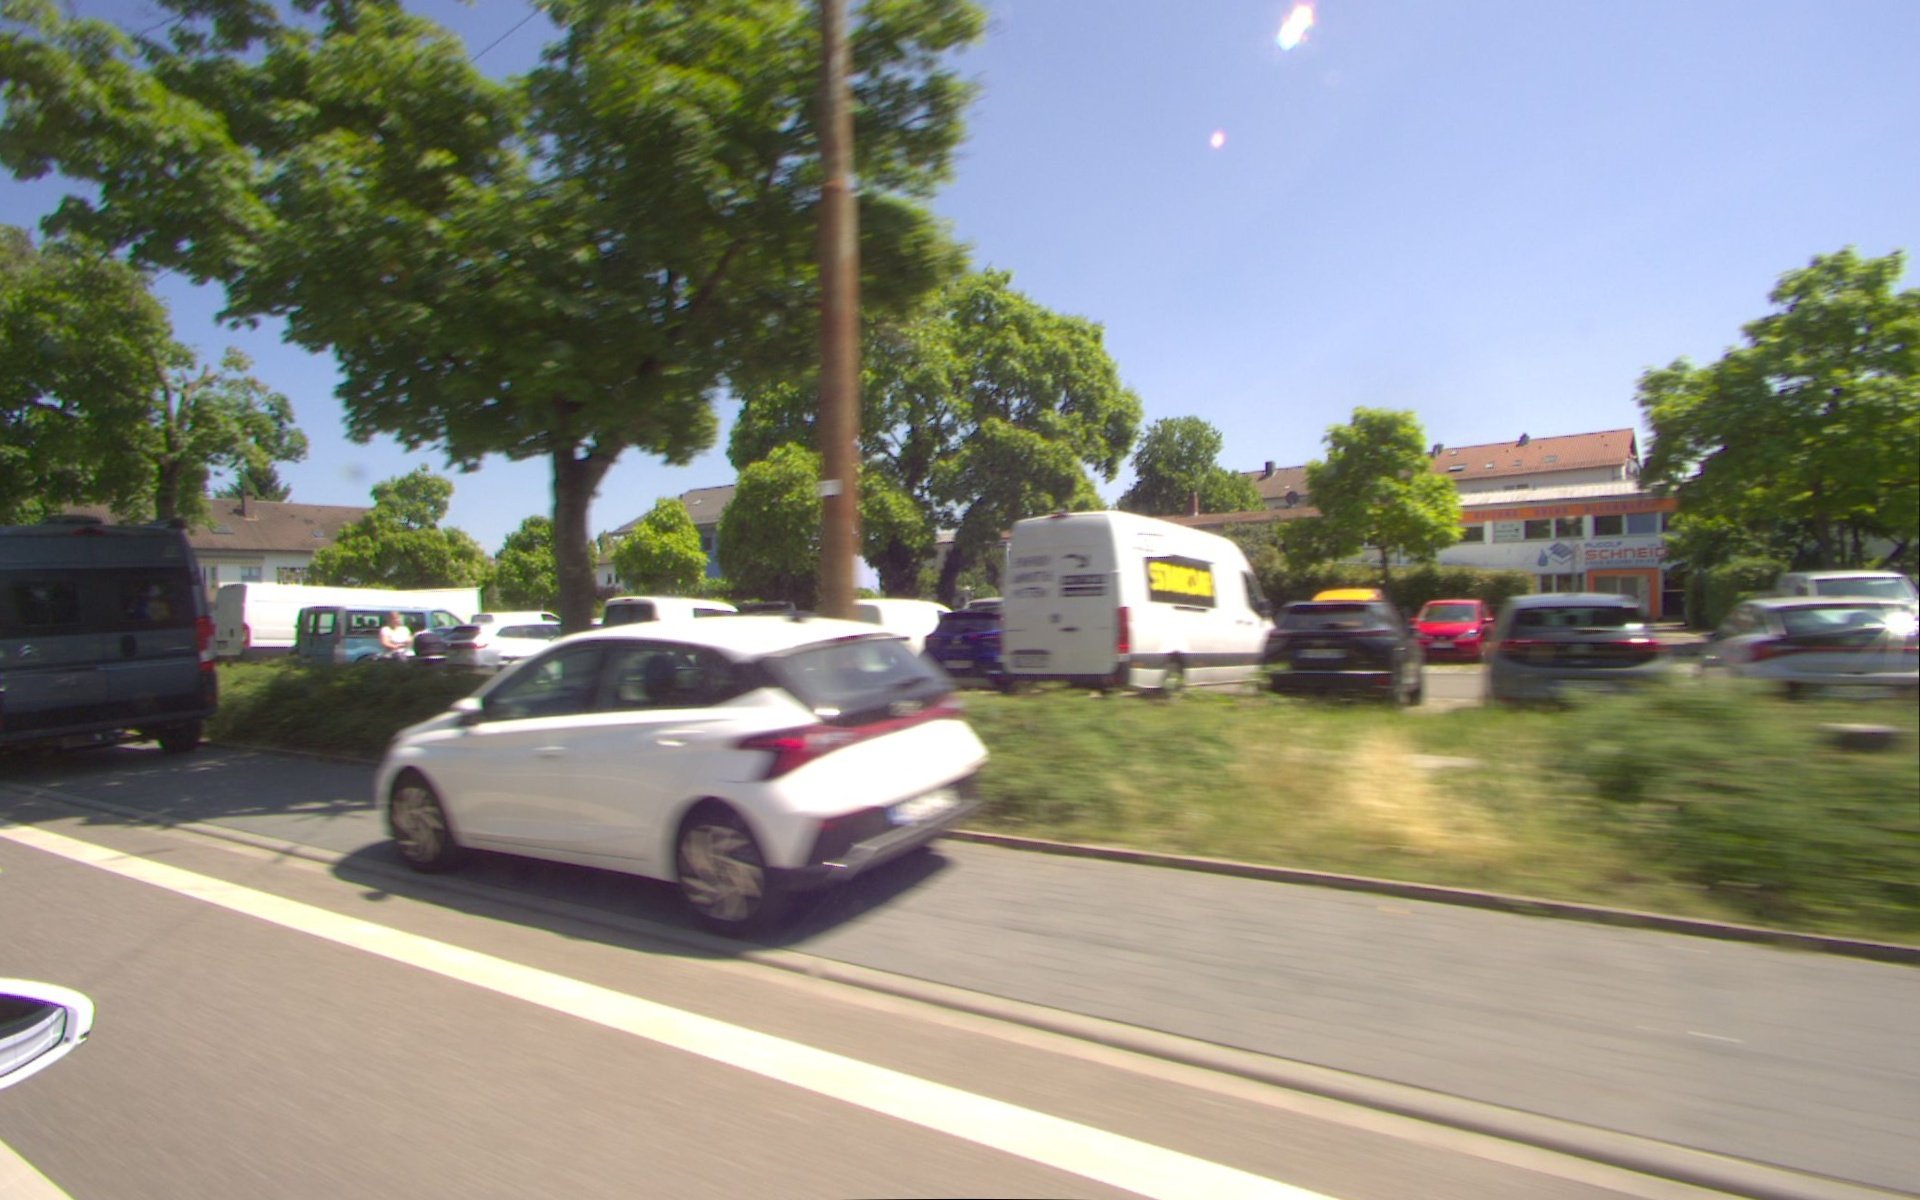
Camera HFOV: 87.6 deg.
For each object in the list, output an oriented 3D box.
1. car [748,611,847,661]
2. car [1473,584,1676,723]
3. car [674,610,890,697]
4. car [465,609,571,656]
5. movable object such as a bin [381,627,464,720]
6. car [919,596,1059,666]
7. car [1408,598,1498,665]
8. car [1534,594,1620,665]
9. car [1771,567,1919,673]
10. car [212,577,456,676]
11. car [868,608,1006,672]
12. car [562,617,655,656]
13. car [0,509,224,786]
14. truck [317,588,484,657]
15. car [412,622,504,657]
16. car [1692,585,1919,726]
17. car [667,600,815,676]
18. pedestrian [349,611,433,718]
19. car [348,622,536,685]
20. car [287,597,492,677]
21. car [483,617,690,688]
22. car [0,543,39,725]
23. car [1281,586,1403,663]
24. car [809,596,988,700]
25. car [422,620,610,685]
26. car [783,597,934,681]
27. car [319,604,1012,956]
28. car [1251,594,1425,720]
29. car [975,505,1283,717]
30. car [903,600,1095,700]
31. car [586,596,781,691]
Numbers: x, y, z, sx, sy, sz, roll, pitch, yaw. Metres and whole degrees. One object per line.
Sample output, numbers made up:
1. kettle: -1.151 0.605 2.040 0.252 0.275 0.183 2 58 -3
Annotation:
1. car: -5.792 1.263 36.026 1.659 1.567 3.325 -1 1 34
2. car: 7.271 0.639 12.205 1.700 1.397 3.888 -1 -3 26
3. car: -3.387 1.042 19.953 1.924 1.524 4.404 -1 -3 28
4. car: -19.362 1.410 44.009 1.727 1.832 3.993 -1 1 29
5. movable object such as a bin: -8.333 1.113 15.521 0.876 1.370 0.791 -1 0 32
6. car: 1.019 0.912 31.342 2.065 1.901 5.084 -1 1 32
7. car: 12.644 0.741 25.558 1.609 1.456 4.300 -1 1 32
8. car: 14.779 0.641 23.981 1.609 1.456 4.300 -1 1 32
9. car: 18.422 0.328 20.691 1.881 1.926 4.906 -1 1 31
10. car: -17.441 0.807 28.241 2.065 2.490 5.482 -1 -3 32
11. car: -0.647 1.256 32.960 2.065 1.776 5.084 -1 1 32
12. car: -14.793 1.506 42.264 1.659 1.447 3.325 -1 1 34
13. car: -11.385 0.486 11.953 5.991 2.672 1.993 -1 2 32
14. truck: -27.674 1.038 49.912 2.389 3.126 6.933 -1 1 31
15. car: -23.516 1.826 47.029 1.659 1.447 3.455 -1 1 34
16. car: 9.641 0.614 11.408 1.703 1.341 3.882 -1 -3 31
17. car: -8.027 1.337 37.298 2.065 2.492 5.476 -1 1 32
18. pedestrian: -9.099 1.006 16.016 0.929 1.646 0.803 -1 0 32
19. car: -12.752 1.316 24.880 1.701 1.423 3.886 -1 -3 27
20. car: -15.025 1.003 26.636 1.924 1.933 4.406 -1 -3 27
21. car: -8.201 1.159 22.406 1.702 1.423 4.274 -1 -3 29
22. car: -17.037 0.594 15.813 6.054 2.672 1.993 -1 2 32
23. car: 10.378 0.588 26.942 2.065 1.776 5.141 -1 1 32
24. car: -1.060 0.895 18.649 1.703 1.739 3.367 -1 -3 32
25. car: -10.521 1.249 24.010 1.702 1.423 3.884 -1 -3 29
26. car: -3.282 1.224 33.786 2.065 2.492 5.476 -1 1 32
27. car: -1.925 0.828 6.123 4.150 1.447 1.718 -2 2 32
28. car: 5.385 0.769 13.971 1.702 1.490 3.884 -1 -3 29
29. car: 2.891 0.283 15.377 2.233 2.560 6.326 -1 -3 34
30. car: 0.787 0.849 17.063 1.702 1.490 3.884 -1 -3 29
31. car: -5.695 0.922 21.080 1.924 1.806 3.779 -1 -3 27
